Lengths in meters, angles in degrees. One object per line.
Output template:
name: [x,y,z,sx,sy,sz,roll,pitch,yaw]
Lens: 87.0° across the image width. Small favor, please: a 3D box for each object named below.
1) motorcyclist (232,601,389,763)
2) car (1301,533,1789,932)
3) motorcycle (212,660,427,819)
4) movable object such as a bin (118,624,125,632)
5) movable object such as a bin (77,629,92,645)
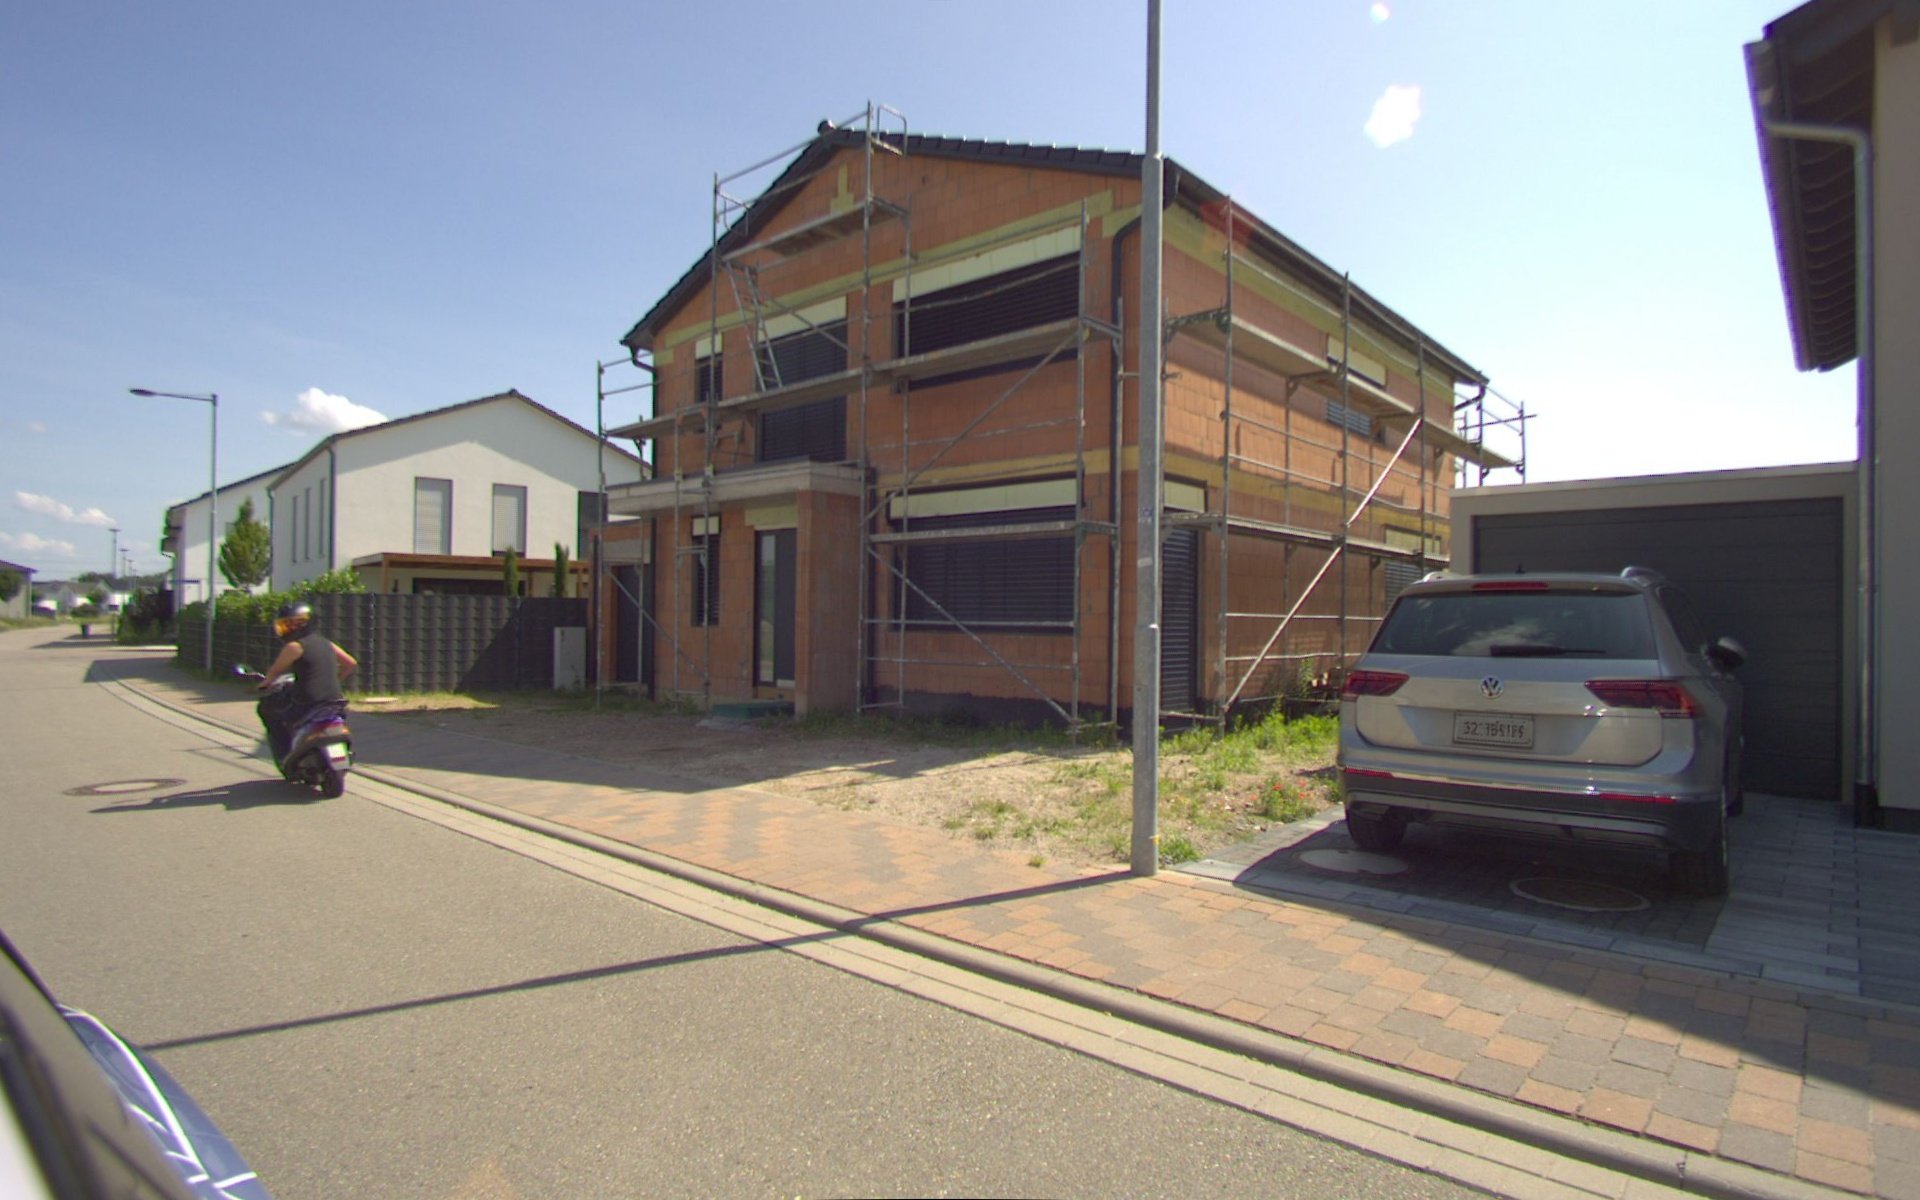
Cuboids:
motorcyclist: [-5.314,0.643,8.288,0.804,1.232,0.914,-2,-3,44]
car: [3.957,0.614,6.488,1.998,1.624,4.381,-1,-2,39]
motorcycle: [-5.279,1.045,8.256,2.437,1.043,0.945,-2,-3,44]
movable object such as a bin: [-95.606,3.228,115.440,0.588,0.928,0.462,1,-2,-38]
movable object such as a bin: [-51.367,2.184,59.384,0.588,0.928,0.462,1,-2,-38]
